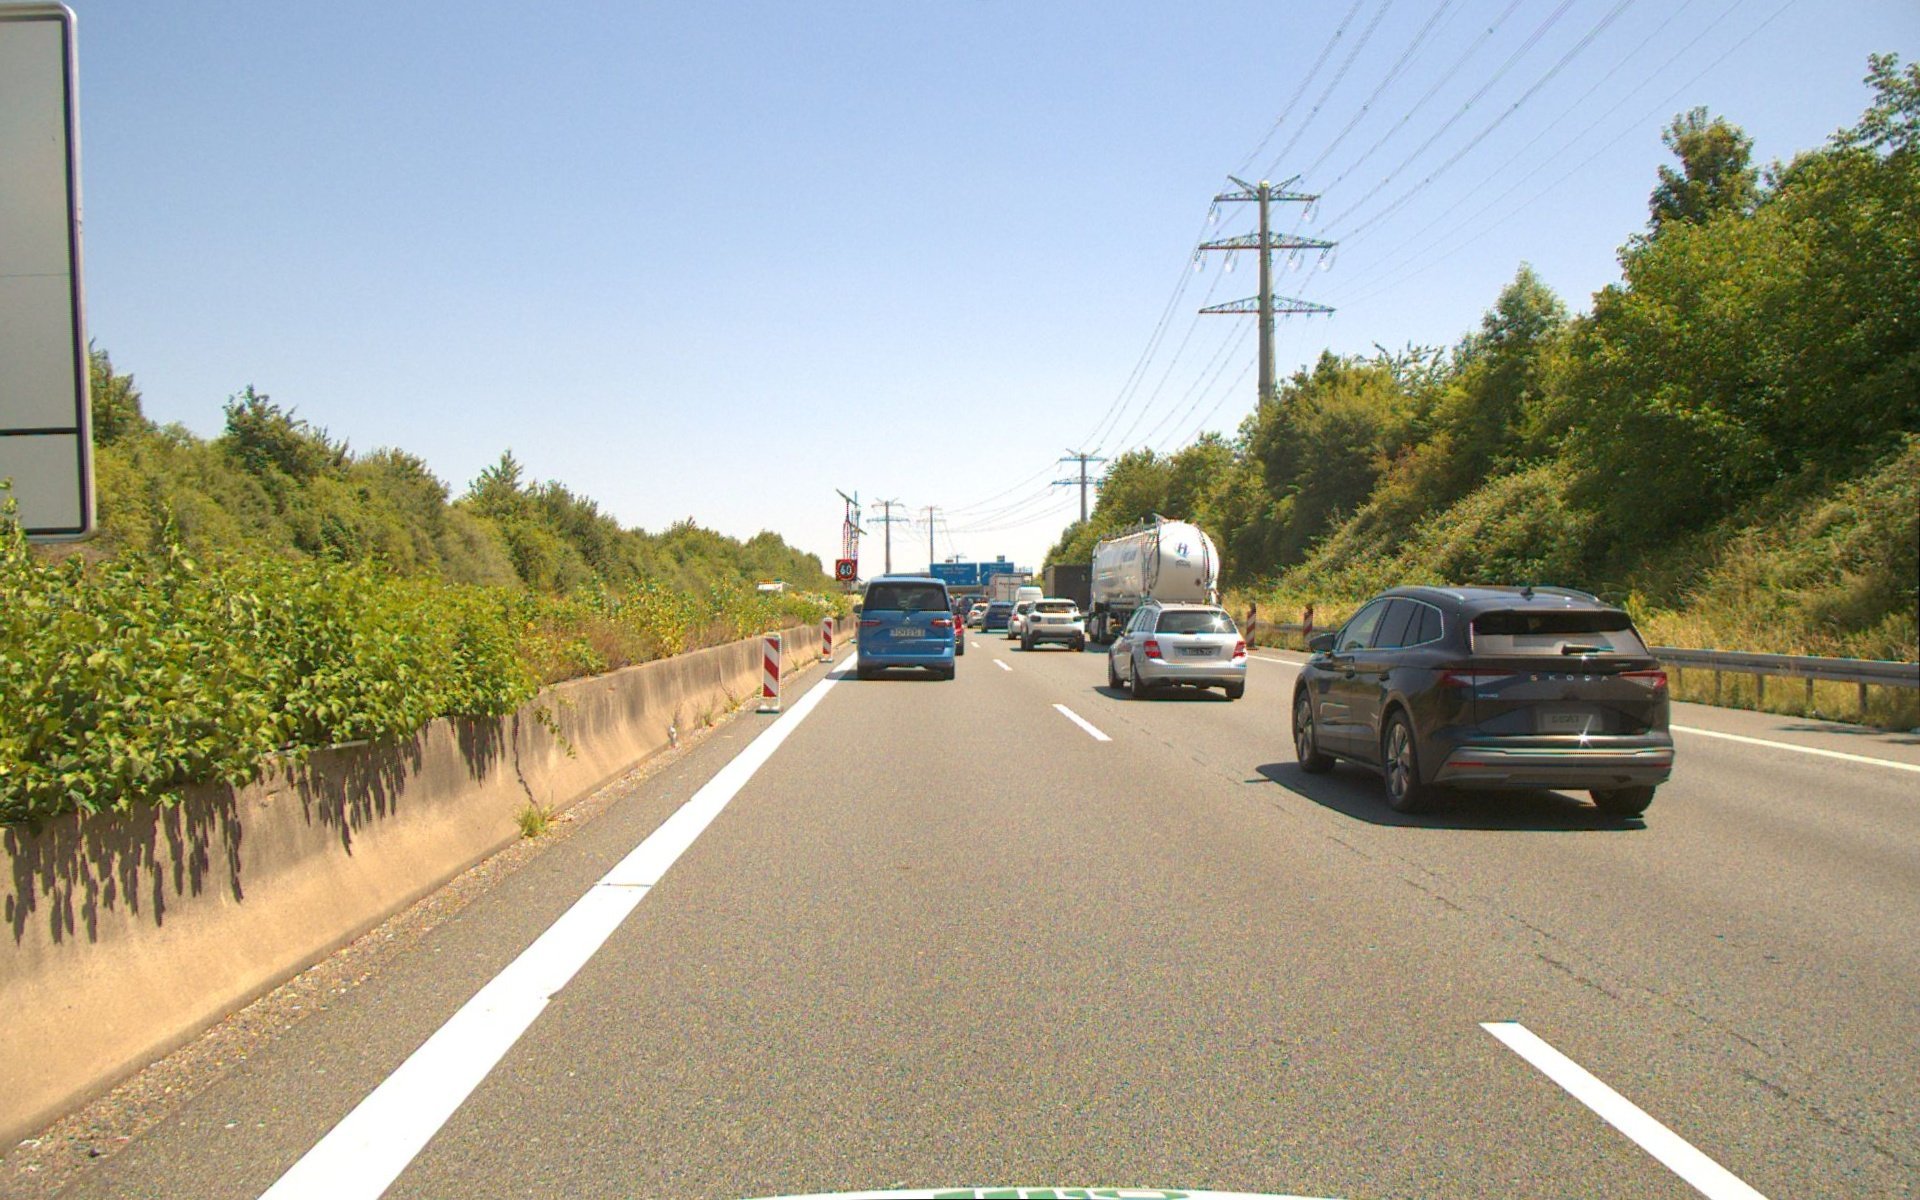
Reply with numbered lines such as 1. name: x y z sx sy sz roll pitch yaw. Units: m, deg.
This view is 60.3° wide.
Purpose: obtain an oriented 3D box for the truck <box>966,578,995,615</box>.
1. truck: 2.469 -0.366 202.055 2.879 4.366 12.545 1 0 -2

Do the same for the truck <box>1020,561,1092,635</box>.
1. truck: 4.989 -0.092 88.387 2.591 3.601 12.545 1 0 -2

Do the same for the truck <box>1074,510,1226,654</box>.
1. truck: 6.067 -0.506 56.132 2.591 4.143 16.432 1 0 -2

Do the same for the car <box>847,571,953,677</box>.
1. car: -1.238 0.446 32.403 1.834 1.912 4.379 1 0 -5

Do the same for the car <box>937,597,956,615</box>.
1. car: -1.513 0.667 186.987 1.953 2.049 3.998 1 0 -2

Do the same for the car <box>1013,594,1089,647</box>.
1. car: 2.743 0.618 50.615 1.870 1.534 3.919 1 0 -3

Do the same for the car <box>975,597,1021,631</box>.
1. car: 1.821 0.663 80.381 1.870 1.542 4.380 1 0 -3

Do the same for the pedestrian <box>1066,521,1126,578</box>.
1. pedestrian: 5.312 -1.954 64.999 1.953 2.049 3.999 1 0 -1

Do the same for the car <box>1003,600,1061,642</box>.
1. car: 2.804 0.801 65.617 1.870 1.597 4.380 1 0 -3

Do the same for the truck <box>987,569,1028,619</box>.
1. truck: 4.254 -0.491 151.845 2.879 4.366 12.545 1 0 -2

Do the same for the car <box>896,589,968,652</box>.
1. car: -0.824 0.553 45.927 1.870 1.659 4.381 0 0 -2

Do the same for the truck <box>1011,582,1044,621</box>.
1. truck: 4.941 0.114 121.798 1.953 2.771 5.677 1 0 -2

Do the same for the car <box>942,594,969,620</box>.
1. car: -0.375 0.551 133.547 1.953 2.049 3.998 1 0 -2

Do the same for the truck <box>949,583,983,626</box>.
1. truck: 0.380 0.313 110.652 1.953 2.771 5.677 1 0 -2

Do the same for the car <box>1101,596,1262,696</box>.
1. car: 3.500 0.695 26.891 1.785 1.462 4.380 1 0 -3

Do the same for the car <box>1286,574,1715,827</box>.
1. car: 3.980 0.653 13.036 1.791 1.643 4.429 0 0 -2

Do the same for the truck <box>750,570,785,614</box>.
1. truck: -19.405 -0.802 166.822 2.696 4.239 6.408 -3 0 -2

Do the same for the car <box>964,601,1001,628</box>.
1. car: 1.287 0.826 96.885 1.870 1.542 4.380 1 0 -3
